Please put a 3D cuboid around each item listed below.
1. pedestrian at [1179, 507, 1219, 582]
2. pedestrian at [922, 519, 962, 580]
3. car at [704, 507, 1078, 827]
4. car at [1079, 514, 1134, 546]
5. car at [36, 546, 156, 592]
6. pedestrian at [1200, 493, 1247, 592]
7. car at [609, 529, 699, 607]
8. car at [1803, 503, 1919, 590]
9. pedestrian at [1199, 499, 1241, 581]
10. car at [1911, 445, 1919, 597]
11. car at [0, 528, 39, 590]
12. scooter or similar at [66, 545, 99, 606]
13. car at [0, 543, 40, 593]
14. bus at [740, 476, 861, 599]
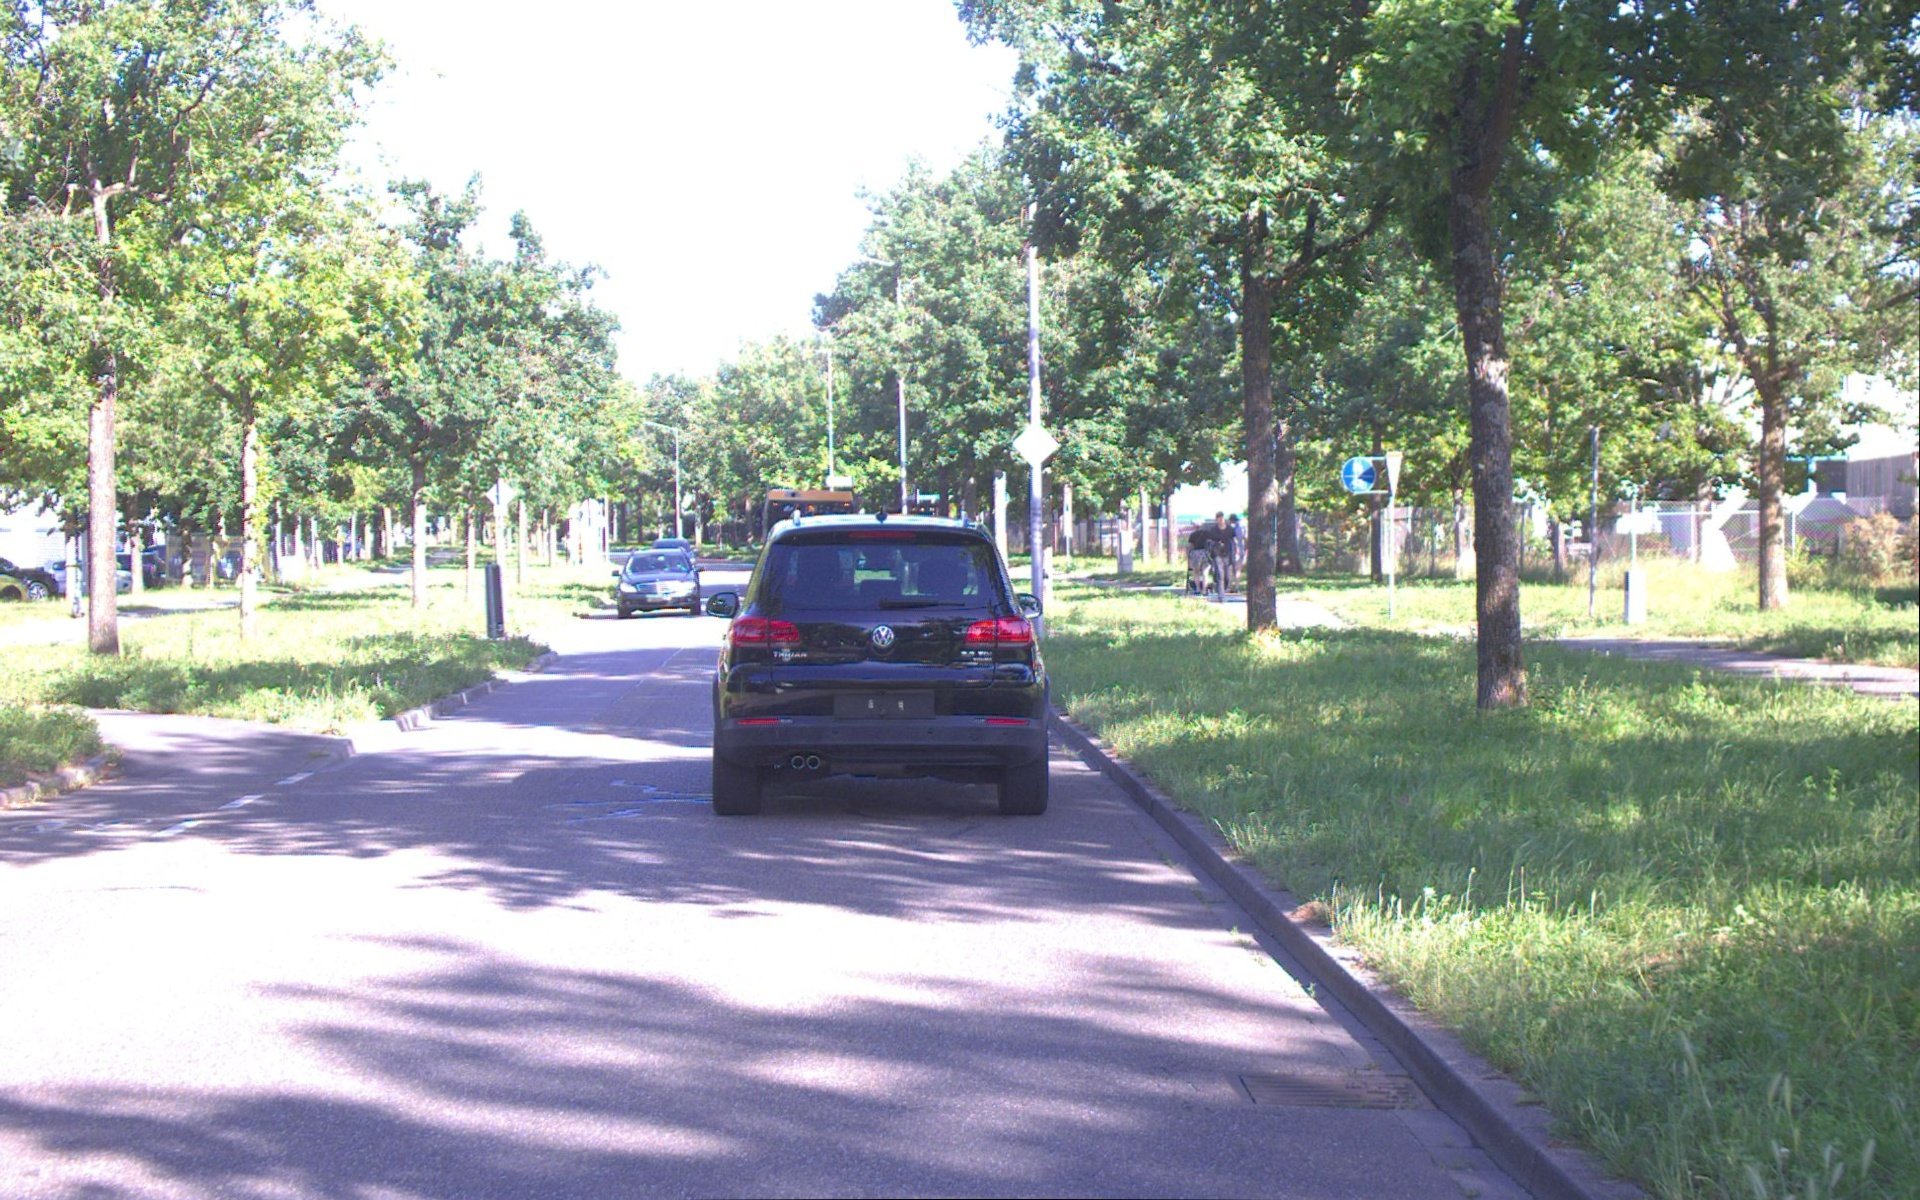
[{"bbox_3d":[5.185,-1.205,74.493,0.725,1.597,0.868,-1,1,-4],"label":"pedestrian"},{"bbox_3d":[-0.496,-1.411,95.796,1.019,1.646,1.100,-1,1,-4],"label":"pedestrian"},{"bbox_3d":[-0.497,0.293,20.120,1.936,1.650,4.428,0,2,-4],"label":"car"},{"bbox_3d":[8.242,-3.936,193.646,2.184,1.738,4.643,-1,2,-9],"label":"car"},{"bbox_3d":[-31.439,-1.139,125.119,3.744,1.612,1.963,-1,1,11],"label":"car"},{"bbox_3d":[4.924,-1.081,64.293,0.725,1.806,0.868,-1,4,-4],"label":"pedestrian"},{"bbox_3d":[-6.591,-0.722,74.388,1.765,1.523,4.496,-2,2,-4],"label":"car"},{"bbox_3d":[18.182,-1.077,67.873,2.005,1.658,3.597,-1,1,-3],"label":"car"},{"bbox_3d":[5.683,-1.321,75.190,0.725,1.749,0.868,-3,1,-3],"label":"pedestrian"},{"bbox_3d":[17.128,-1.193,56.599,2.085,2.557,5.971,1,4,8],"label":"car"},{"bbox_3d":[-33.161,-1.318,113.726,4.846,2.007,1.999,-2,2,-45],"label":"car"},{"bbox_3d":[-18.984,-0.537,74.380,0.395,1.275,1.441,-1,1,-3],"label":"scooter or similar"},{"bbox_3d":[-28.871,-0.894,99.302,3.943,1.397,1.999,-2,2,-45],"label":"car"},{"bbox_3d":[-4.846,-1.903,102.648,2.764,3.444,11.213,-1,2,-7],"label":"bus"}]
